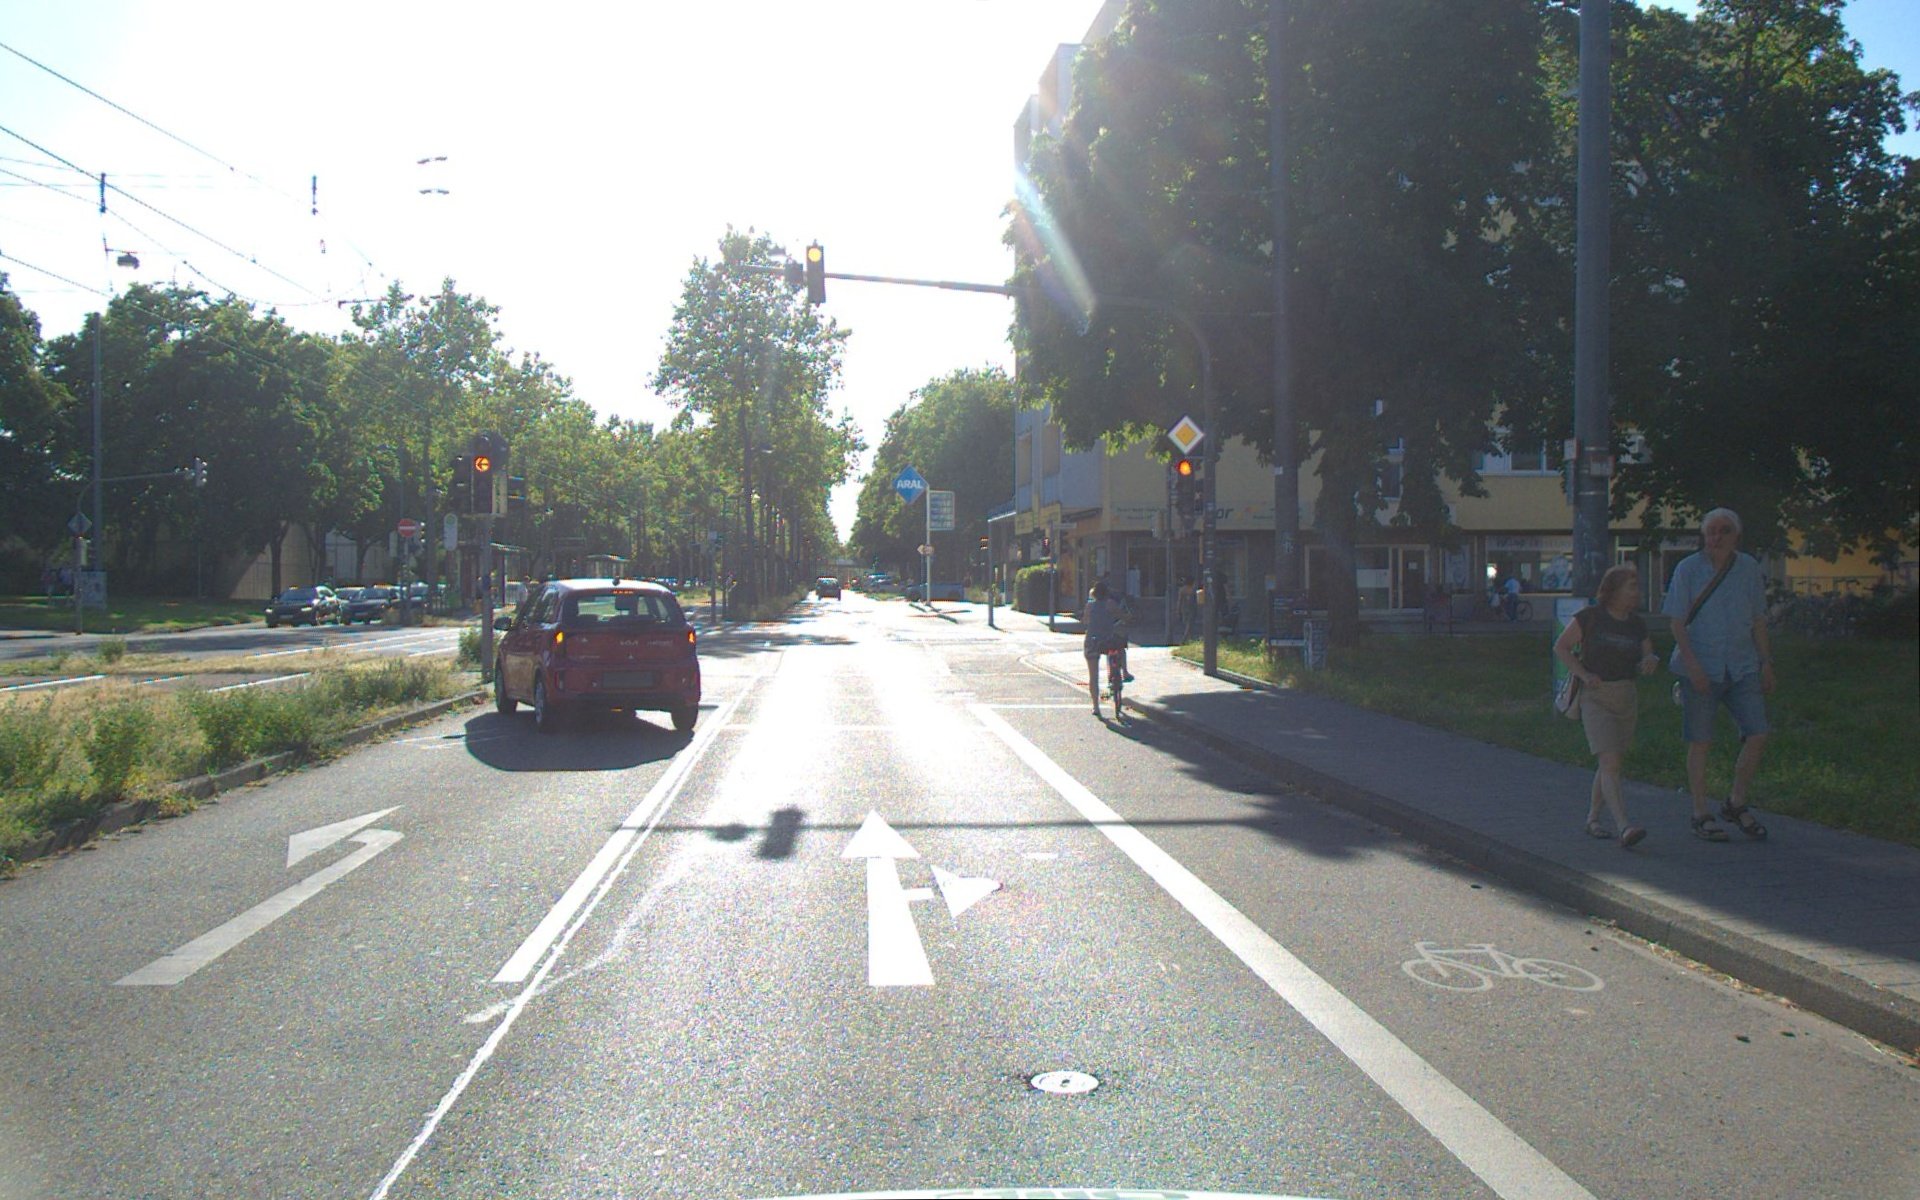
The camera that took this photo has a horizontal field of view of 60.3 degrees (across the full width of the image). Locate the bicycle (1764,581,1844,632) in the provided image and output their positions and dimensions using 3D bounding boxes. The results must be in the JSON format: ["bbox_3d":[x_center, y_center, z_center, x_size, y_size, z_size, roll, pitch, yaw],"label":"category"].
[{"bbox_3d":[18.569,0.129,36.436,0.585,1.052,2.005,2,0,-5],"label":"bicycle"}]

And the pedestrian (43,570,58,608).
[{"bbox_3d":[-38.603,-0.469,70.236,0.427,1.587,0.304,2,0,-9],"label":"pedestrian"}]

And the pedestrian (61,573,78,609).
[{"bbox_3d":[-37.849,-0.394,70.315,0.427,1.533,0.487,2,0,-8],"label":"pedestrian"}]

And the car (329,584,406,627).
[{"bbox_3d":[-22.837,0.182,63.875,1.654,1.559,4.357,0,1,-4],"label":"car"}]

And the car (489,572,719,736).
[{"bbox_3d":[-3.909,0.499,17.719,1.672,1.534,3.671,1,1,-24],"label":"car"}]

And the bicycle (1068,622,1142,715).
[{"bbox_3d":[1.694,0.786,19.547,0.635,0.989,1.803,2,0,-2],"label":"bicycle"}]

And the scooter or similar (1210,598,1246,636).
[{"bbox_3d":[5.582,0.352,34.483,0.586,0.750,0.681,2,0,-5],"label":"scooter or similar"}]

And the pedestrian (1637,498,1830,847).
[{"bbox_3d":[4.250,0.375,9.130,0.688,1.820,0.694,-3,2,1],"label":"pedestrian"}]

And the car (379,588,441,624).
[{"bbox_3d":[-23.187,0.235,69.821,1.535,1.426,3.912,2,1,-4],"label":"car"}]

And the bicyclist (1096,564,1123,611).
[{"bbox_3d":[4.927,-0.409,54.466,0.752,1.496,0.899,-1,1,12],"label":"bicyclist"}]

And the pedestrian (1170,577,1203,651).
[{"bbox_3d":[4.819,0.294,35.164,0.633,1.549,0.496,2,0,8],"label":"pedestrian"}]

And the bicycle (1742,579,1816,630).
[{"bbox_3d":[17.956,0.087,36.292,0.585,1.052,1.794,2,0,-5],"label":"bicycle"}]

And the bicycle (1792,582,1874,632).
[{"bbox_3d":[19.222,0.141,36.470,0.585,1.052,1.989,2,0,-5],"label":"bicycle"}]

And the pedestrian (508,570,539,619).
[{"bbox_3d":[-15.092,-0.194,57.212,0.873,1.634,0.613,2,0,-5],"label":"pedestrian"}]

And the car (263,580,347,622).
[{"bbox_3d":[-25.098,0.015,63.544,1.771,1.559,4.357,-1,1,-4],"label":"car"}]

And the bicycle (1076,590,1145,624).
[{"bbox_3d":[4.959,0.225,54.509,2.203,1.004,0.790,1,5,11],"label":"bicycle"}]

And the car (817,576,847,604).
[{"bbox_3d":[-9.140,-0.716,117.918,1.930,1.892,3.995,2,0,-6],"label":"car"}]

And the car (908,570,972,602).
[{"bbox_3d":[-1.317,-0.909,107.980,3.903,1.892,2.013,2,0,6],"label":"car"}]

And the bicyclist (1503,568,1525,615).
[{"bbox_3d":[18.966,-0.302,56.648,0.517,1.594,0.463,2,0,-7],"label":"bicyclist"}]

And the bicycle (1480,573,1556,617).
[{"bbox_3d":[19.316,-0.159,57.247,2.422,1.424,0.607,2,0,-6],"label":"bicycle"}]

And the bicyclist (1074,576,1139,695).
[{"bbox_3d":[1.715,0.406,19.474,0.625,1.346,0.802,2,0,-2],"label":"bicyclist"}]

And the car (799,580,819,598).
[{"bbox_3d":[-14.272,-1.076,156.176,1.857,1.639,4.495,2,1,-5],"label":"car"}]

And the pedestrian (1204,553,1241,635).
[{"bbox_3d":[5.572,-0.134,35.127,0.714,1.711,0.533,2,0,8],"label":"pedestrian"}]

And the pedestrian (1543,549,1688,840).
[{"bbox_3d":[3.643,0.507,9.227,0.518,1.555,0.627,-2,0,1],"label":"pedestrian"}]
